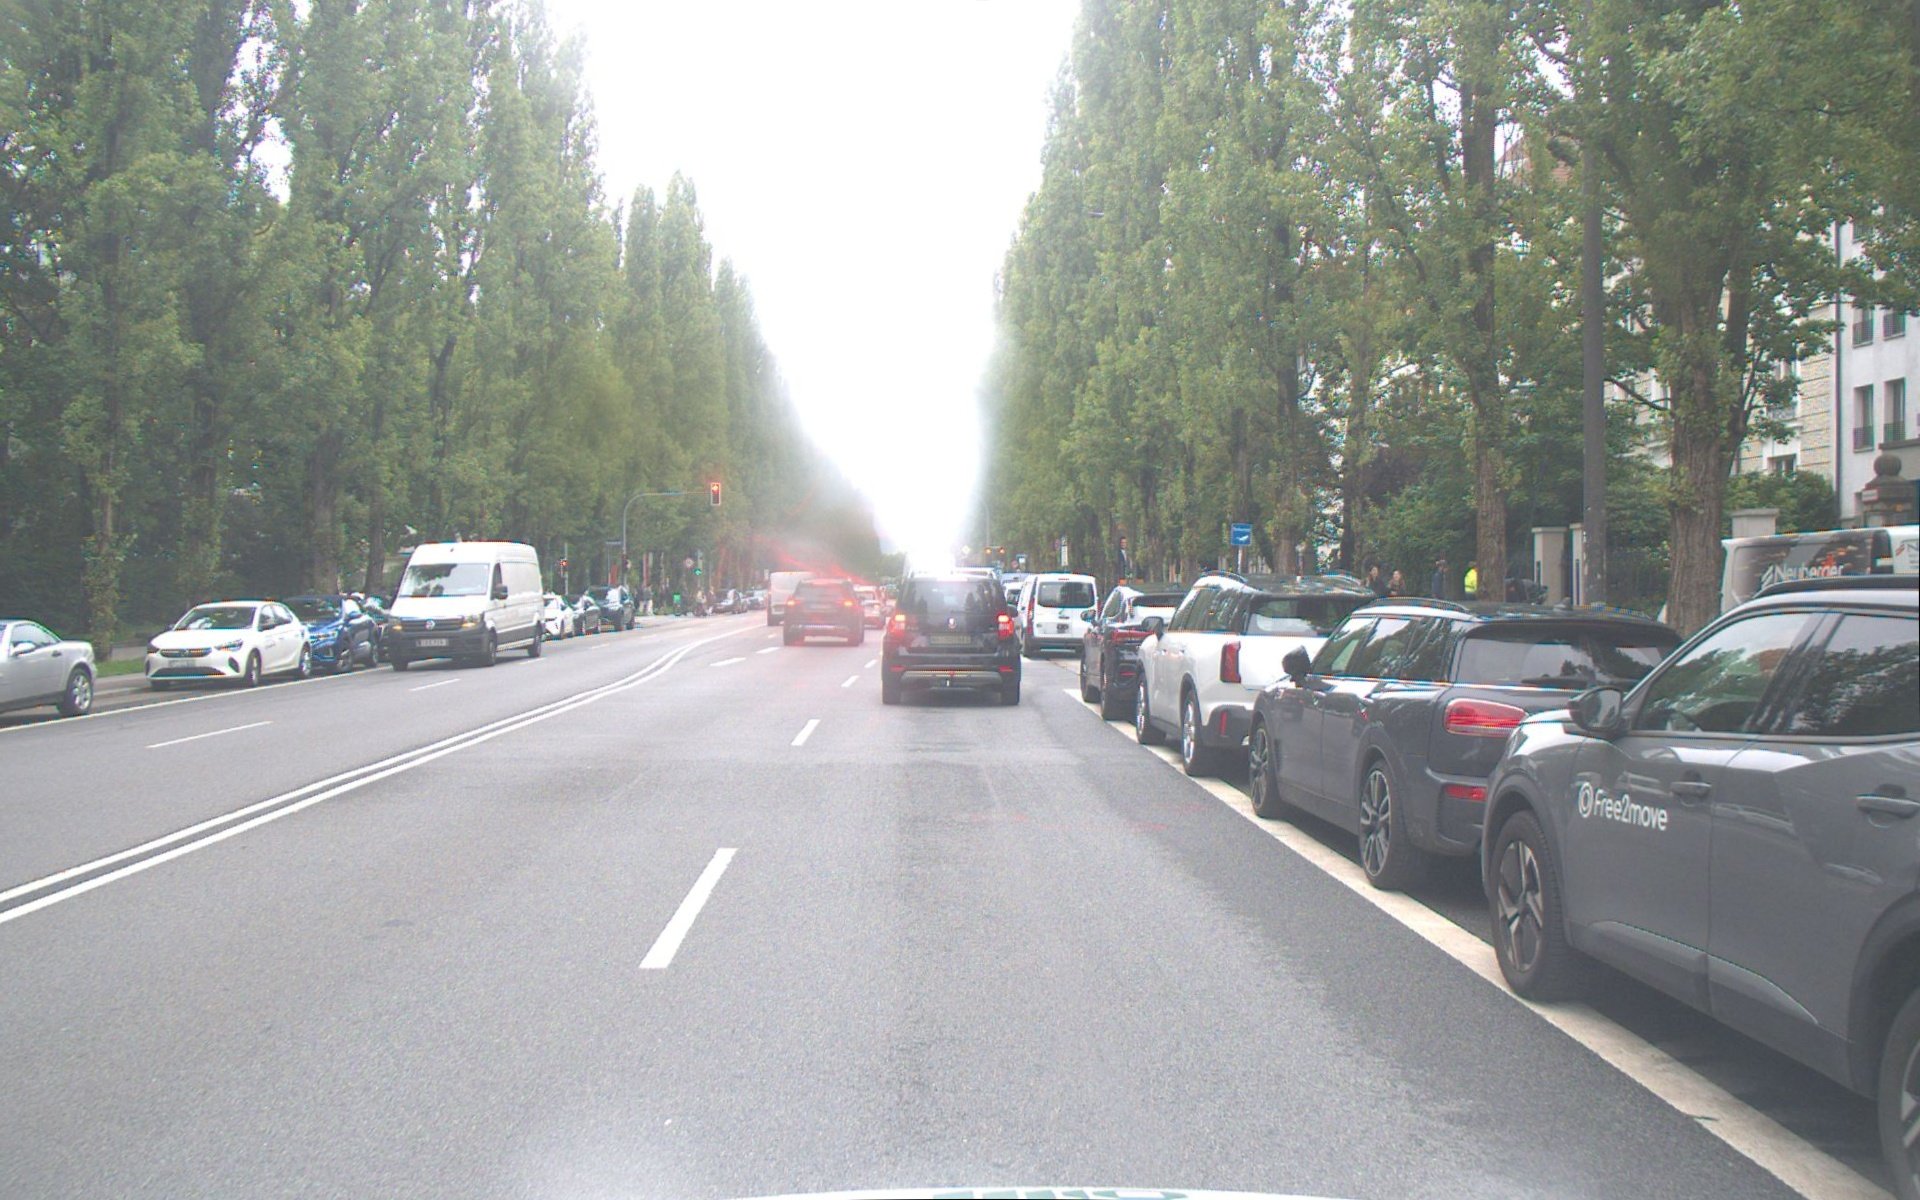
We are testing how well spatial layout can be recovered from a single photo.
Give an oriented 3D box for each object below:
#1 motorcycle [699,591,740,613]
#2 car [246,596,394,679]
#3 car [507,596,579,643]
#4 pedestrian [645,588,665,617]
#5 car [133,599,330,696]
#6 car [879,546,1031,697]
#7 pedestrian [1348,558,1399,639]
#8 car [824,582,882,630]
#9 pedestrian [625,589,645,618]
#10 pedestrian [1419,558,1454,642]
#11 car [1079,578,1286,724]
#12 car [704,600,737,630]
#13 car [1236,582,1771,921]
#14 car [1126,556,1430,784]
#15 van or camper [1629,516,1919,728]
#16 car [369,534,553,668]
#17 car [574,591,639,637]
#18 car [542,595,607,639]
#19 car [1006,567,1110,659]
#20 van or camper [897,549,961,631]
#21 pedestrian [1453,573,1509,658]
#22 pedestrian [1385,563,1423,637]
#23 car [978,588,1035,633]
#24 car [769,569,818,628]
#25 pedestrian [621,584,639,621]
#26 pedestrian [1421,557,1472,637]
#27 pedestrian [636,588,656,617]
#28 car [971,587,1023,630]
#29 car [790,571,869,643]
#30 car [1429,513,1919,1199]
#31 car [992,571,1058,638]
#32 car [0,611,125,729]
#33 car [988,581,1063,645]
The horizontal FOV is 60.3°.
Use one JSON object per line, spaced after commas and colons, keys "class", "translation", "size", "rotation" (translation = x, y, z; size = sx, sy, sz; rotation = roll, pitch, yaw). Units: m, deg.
{"class": "motorcycle", "translation": [-14.225, 0.119, 97.893], "size": [2.315, 1.291, 0.930], "rotation": [0, 0, -1]}
{"class": "car", "translation": [-12.894, 0.710, 33.547], "size": [1.675, 1.476, 3.584], "rotation": [-3, 1, -3]}
{"class": "car", "translation": [-13.644, 0.610, 54.330], "size": [1.592, 1.413, 4.162], "rotation": [-3, 1, -5]}
{"class": "pedestrian", "translation": [-17.833, 0.126, 96.680], "size": [0.874, 1.684, 0.865], "rotation": [-1, 0, -39]}
{"class": "car", "translation": [-12.852, 0.776, 29.471], "size": [1.735, 1.477, 4.231], "rotation": [-3, 1, -3]}
{"class": "car", "translation": [-0.108, 0.252, 22.198], "size": [1.818, 1.800, 3.999], "rotation": [1, 0, -1]}
{"class": "pedestrian", "translation": [9.112, -0.032, 36.478], "size": [0.836, 1.747, 0.867], "rotation": [-2, 0, -2]}
{"class": "car", "translation": [-3.758, 0.176, 58.656], "size": [1.954, 1.588, 3.998], "rotation": [-1, 1, -3]}
{"class": "pedestrian", "translation": [-19.285, 0.215, 98.200], "size": [0.874, 1.684, 0.865], "rotation": [-1, 0, -39]}
{"class": "pedestrian", "translation": [11.003, -0.002, 38.222], "size": [0.479, 1.895, 0.635], "rotation": [-1, 0, -19]}
{"class": "car", "translation": [2.572, 0.521, 20.161], "size": [1.842, 1.567, 4.463], "rotation": [-1, 1, -1]}
{"class": "car", "translation": [-15.322, 0.927, 105.917], "size": [1.654, 1.814, 3.774], "rotation": [-1, 1, -2]}
{"class": "car", "translation": [2.902, 0.683, 9.864], "size": [1.668, 1.546, 4.294], "rotation": [-1, 1, -2]}
{"class": "car", "translation": [2.635, 0.497, 14.787], "size": [1.707, 1.704, 4.578], "rotation": [-1, 1, -2]}
{"class": "van or camper", "translation": [9.452, 0.180, 18.048], "size": [2.034, 1.967, 5.367], "rotation": [0, 1, -1]}
{"class": "car", "translation": [-10.540, -0.012, 35.552], "size": [2.184, 2.526, 6.753], "rotation": [-2, 1, -3]}
{"class": "car", "translation": [-14.031, 0.531, 65.826], "size": [1.813, 1.683, 4.692], "rotation": [-3, 1, -4]}
{"class": "car", "translation": [-13.910, 0.588, 59.879], "size": [1.591, 1.413, 4.163], "rotation": [-3, 1, -4]}
{"class": "car", "translation": [2.124, 0.251, 37.043], "size": [1.814, 1.914, 4.165], "rotation": [-1, 1, -4]}
{"class": "van or camper", "translation": [-1.066, -0.348, 55.130], "size": [1.936, 2.593, 4.022], "rotation": [-1, 1, -3]}
{"class": "pedestrian", "translation": [11.684, 0.337, 37.104], "size": [0.889, 1.831, 0.825], "rotation": [-2, 3, -23]}
{"class": "pedestrian", "translation": [9.797, -0.011, 36.528], "size": [0.556, 1.606, 0.867], "rotation": [-1, 0, -2]}
{"class": "car", "translation": [1.512, 0.340, 55.382], "size": [1.700, 1.411, 3.561], "rotation": [-1, 1, -2]}
{"class": "car", "translation": [-6.265, -0.079, 62.692], "size": [1.746, 2.148, 4.021], "rotation": [0, 0, -5]}
{"class": "pedestrian", "translation": [-14.464, 0.093, 72.435], "size": [0.647, 1.604, 0.530], "rotation": [-1, 0, -1]}
{"class": "pedestrian", "translation": [11.178, -0.078, 38.012], "size": [0.787, 1.813, 0.816], "rotation": [-1, 0, -19]}
{"class": "pedestrian", "translation": [-18.474, 0.124, 97.294], "size": [0.874, 1.684, 0.865], "rotation": [-1, 0, -39]}
{"class": "car", "translation": [1.342, 0.272, 60.883], "size": [1.700, 1.501, 3.561], "rotation": [-1, 1, -2]}
{"class": "car", "translation": [-3.257, 0.142, 41.960], "size": [1.745, 1.648, 4.024], "rotation": [-2, 1, -2]}
{"class": "car", "translation": [3.004, 0.602, 4.968], "size": [1.748, 1.646, 4.636], "rotation": [-1, 1, -2]}
{"class": "car", "translation": [1.912, 0.105, 49.522], "size": [1.700, 1.928, 4.024], "rotation": [-1, 1, -2]}
{"class": "car", "translation": [-12.381, 0.895, 20.665], "size": [1.790, 1.357, 4.232], "rotation": [-3, 1, -2]}
{"class": "car", "translation": [1.709, 0.304, 44.240], "size": [1.706, 1.620, 4.210], "rotation": [-1, 1, -2]}
